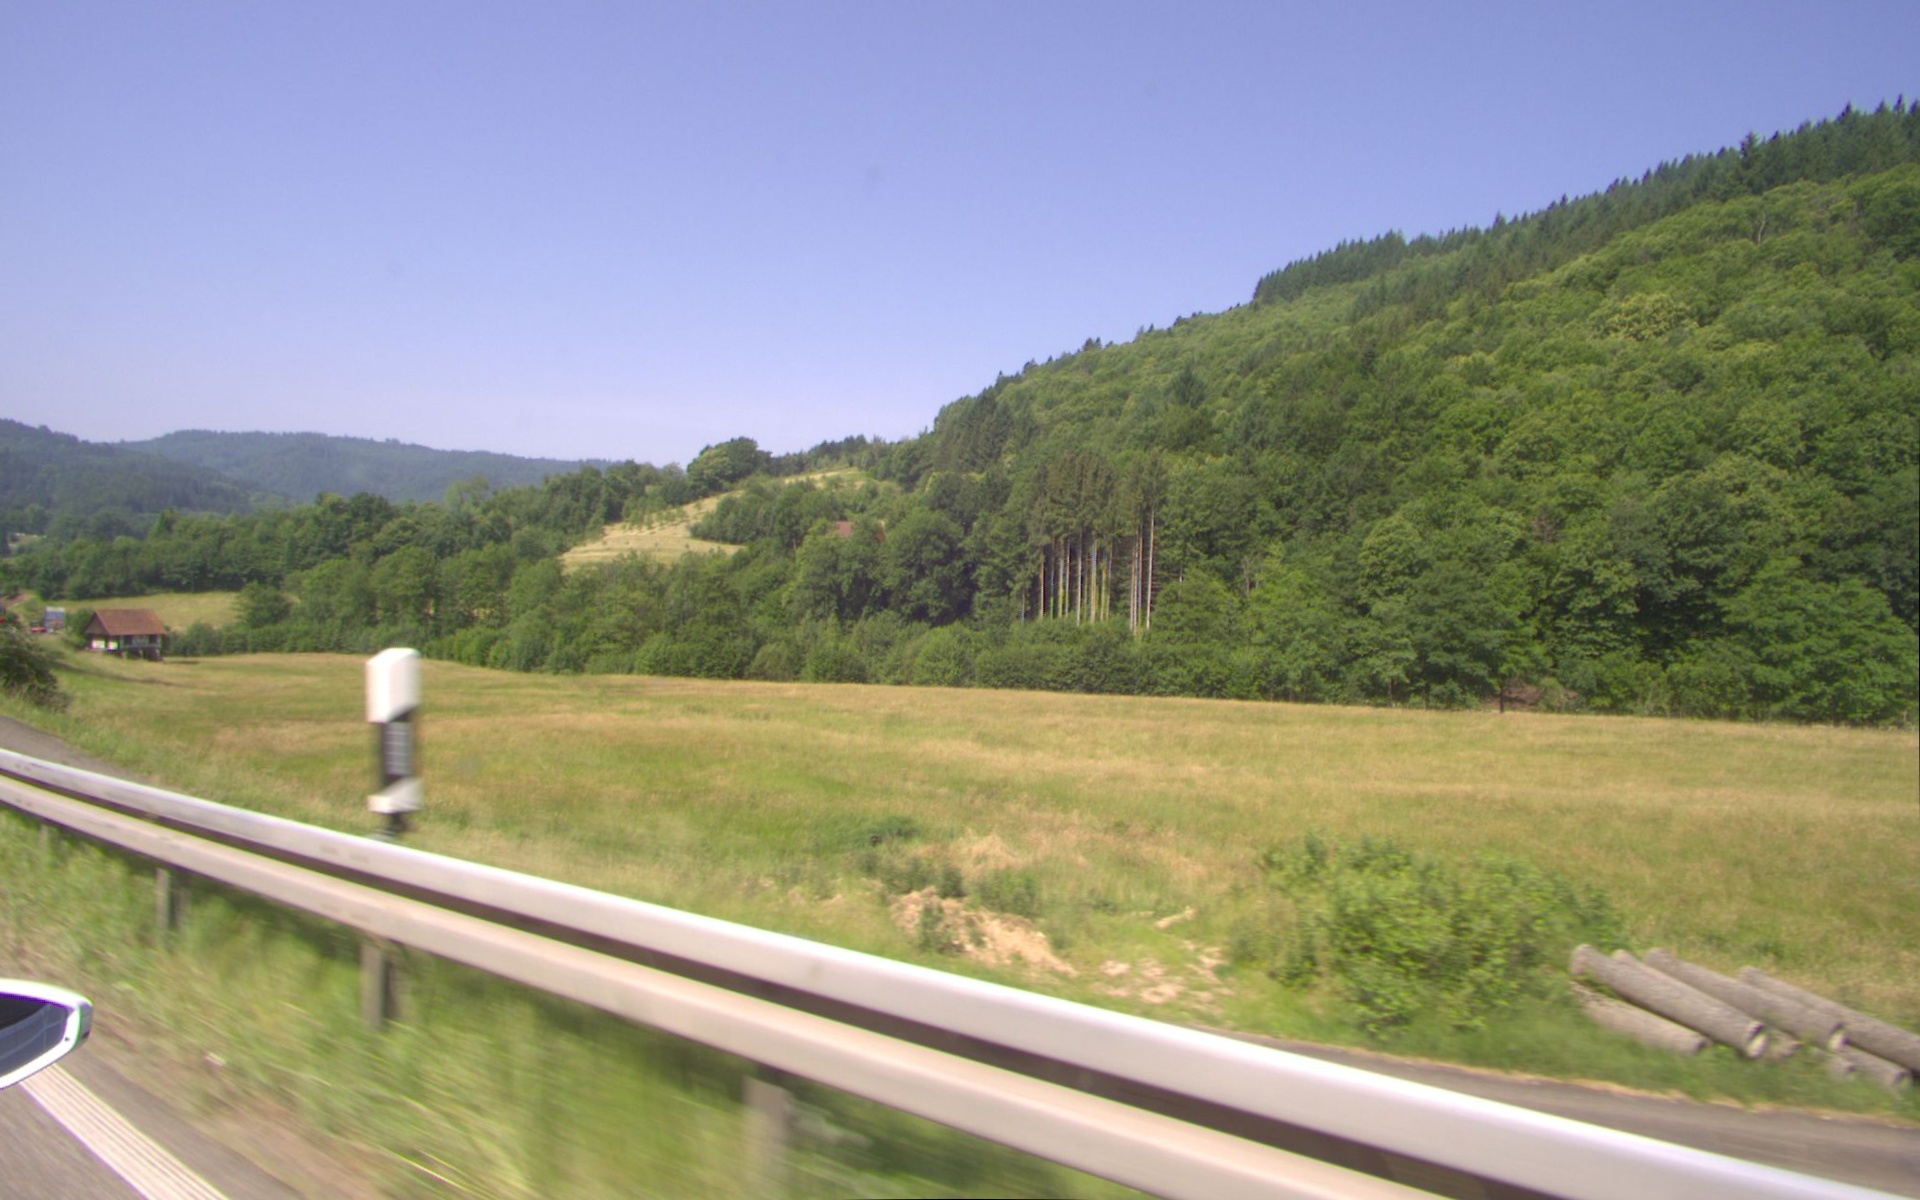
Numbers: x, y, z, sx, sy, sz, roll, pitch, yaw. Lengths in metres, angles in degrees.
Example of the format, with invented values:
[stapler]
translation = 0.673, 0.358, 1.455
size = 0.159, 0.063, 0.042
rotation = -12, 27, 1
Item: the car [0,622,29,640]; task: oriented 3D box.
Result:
[car]
translation = -110.132, 3.609, 116.354
size = 1.973, 1.949, 3.979
rotation = 4, -3, -31
